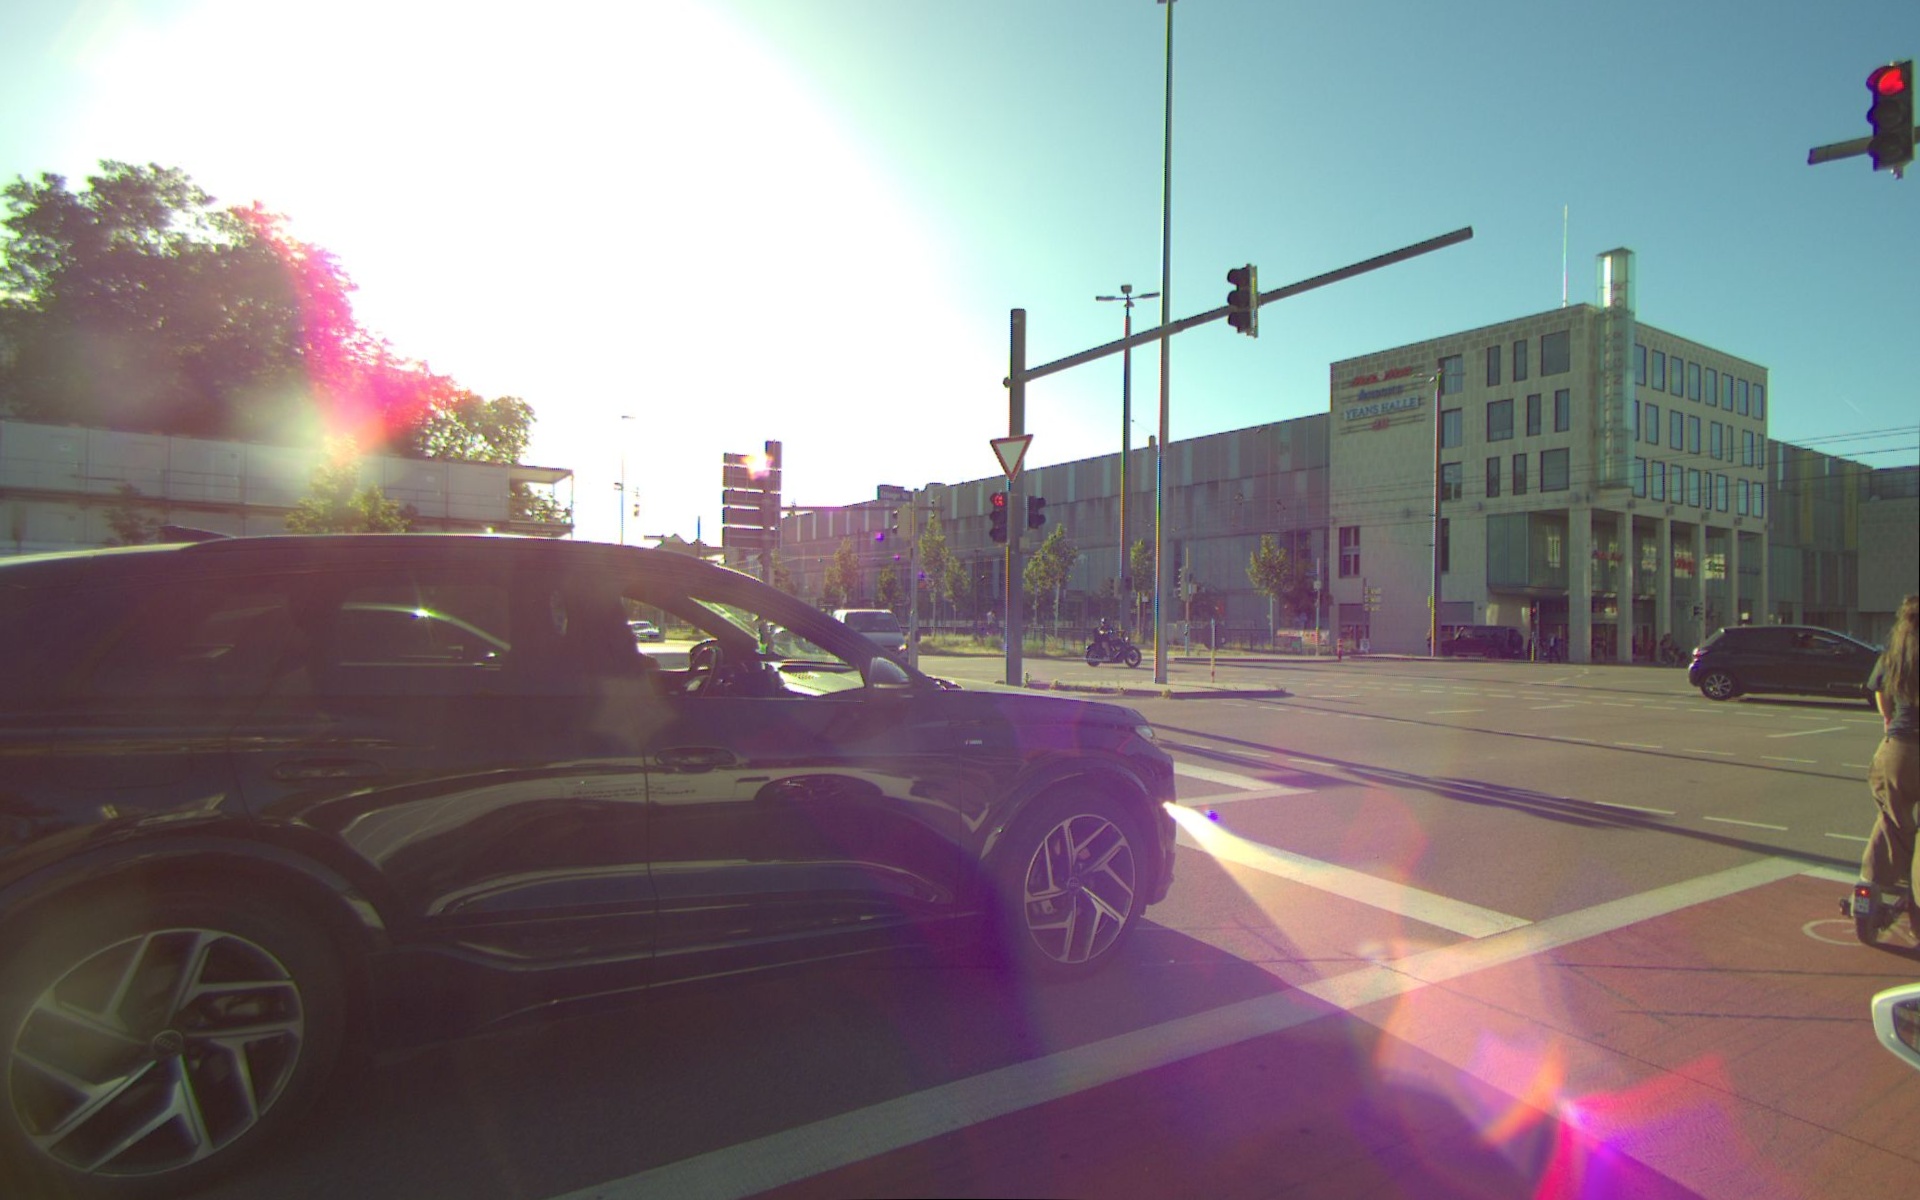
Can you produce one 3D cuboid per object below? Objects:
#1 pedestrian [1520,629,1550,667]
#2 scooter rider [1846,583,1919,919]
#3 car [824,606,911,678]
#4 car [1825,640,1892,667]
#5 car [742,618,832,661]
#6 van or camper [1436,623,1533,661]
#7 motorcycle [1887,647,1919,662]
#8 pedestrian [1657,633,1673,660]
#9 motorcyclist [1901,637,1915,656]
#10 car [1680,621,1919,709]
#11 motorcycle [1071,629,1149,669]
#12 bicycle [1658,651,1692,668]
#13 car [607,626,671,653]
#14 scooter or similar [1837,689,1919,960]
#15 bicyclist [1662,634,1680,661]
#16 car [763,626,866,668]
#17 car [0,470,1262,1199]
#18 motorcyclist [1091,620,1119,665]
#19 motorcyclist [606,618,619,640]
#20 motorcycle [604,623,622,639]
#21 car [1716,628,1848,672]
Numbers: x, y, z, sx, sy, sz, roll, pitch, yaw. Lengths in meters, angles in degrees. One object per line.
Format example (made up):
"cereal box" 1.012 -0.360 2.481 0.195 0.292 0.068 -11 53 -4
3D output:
"pedestrian" 26.164 2.190 45.704 0.994 1.697 0.818 1 -1 -33
"scooter rider" 4.609 0.699 4.757 0.445 1.550 0.548 1 -1 -38
"car" -2.839 1.194 29.842 1.856 1.947 4.917 1 -1 -14
"car" 49.617 2.933 55.445 3.975 1.375 1.668 1 -1 -31
"car" -8.175 1.817 47.048 1.873 1.888 4.771 2 -2 -43
"van or camper" 29.227 2.295 56.083 1.974 2.040 4.388 1 -1 -34
"motorcycle" 71.023 4.069 74.936 1.106 1.006 2.582 2 0 -38
"pedestrian" 44.125 2.889 62.868 0.622 1.667 0.589 1 -1 -30
"motorcyclist" 70.970 3.467 75.203 0.657 1.424 0.623 2 0 -38
"car" 16.550 1.199 19.609 1.660 1.530 3.824 2 -2 -44
"motorcycle" 4.896 1.593 32.900 2.567 1.224 0.725 -1 -1 44
"bicycle" 39.580 3.296 55.600 2.191 0.915 0.633 1 -1 -29
"car" -20.349 2.458 63.529 1.985 1.585 5.038 2 -2 -41
"scooter or similar" 4.370 1.001 4.695 0.832 1.122 0.303 2 -1 -42
"bicyclist" 39.501 2.637 55.829 0.581 1.467 0.623 1 -1 -28
"car" -5.296 1.670 36.359 3.890 1.395 1.718 -1 -2 45
"car" -1.208 0.606 4.078 4.612 1.729 2.154 1 0 -32
"motorcyclist" 4.777 1.400 33.047 0.650 1.442 0.644 -1 0 44
"motorcyclist" -24.369 2.047 70.431 0.594 1.499 0.744 1 -1 -37
"motorcycle" -24.343 2.164 70.394 0.643 1.115 1.940 1 -1 -37
"car" 34.531 2.058 42.302 1.741 1.706 3.967 1 -1 -30
